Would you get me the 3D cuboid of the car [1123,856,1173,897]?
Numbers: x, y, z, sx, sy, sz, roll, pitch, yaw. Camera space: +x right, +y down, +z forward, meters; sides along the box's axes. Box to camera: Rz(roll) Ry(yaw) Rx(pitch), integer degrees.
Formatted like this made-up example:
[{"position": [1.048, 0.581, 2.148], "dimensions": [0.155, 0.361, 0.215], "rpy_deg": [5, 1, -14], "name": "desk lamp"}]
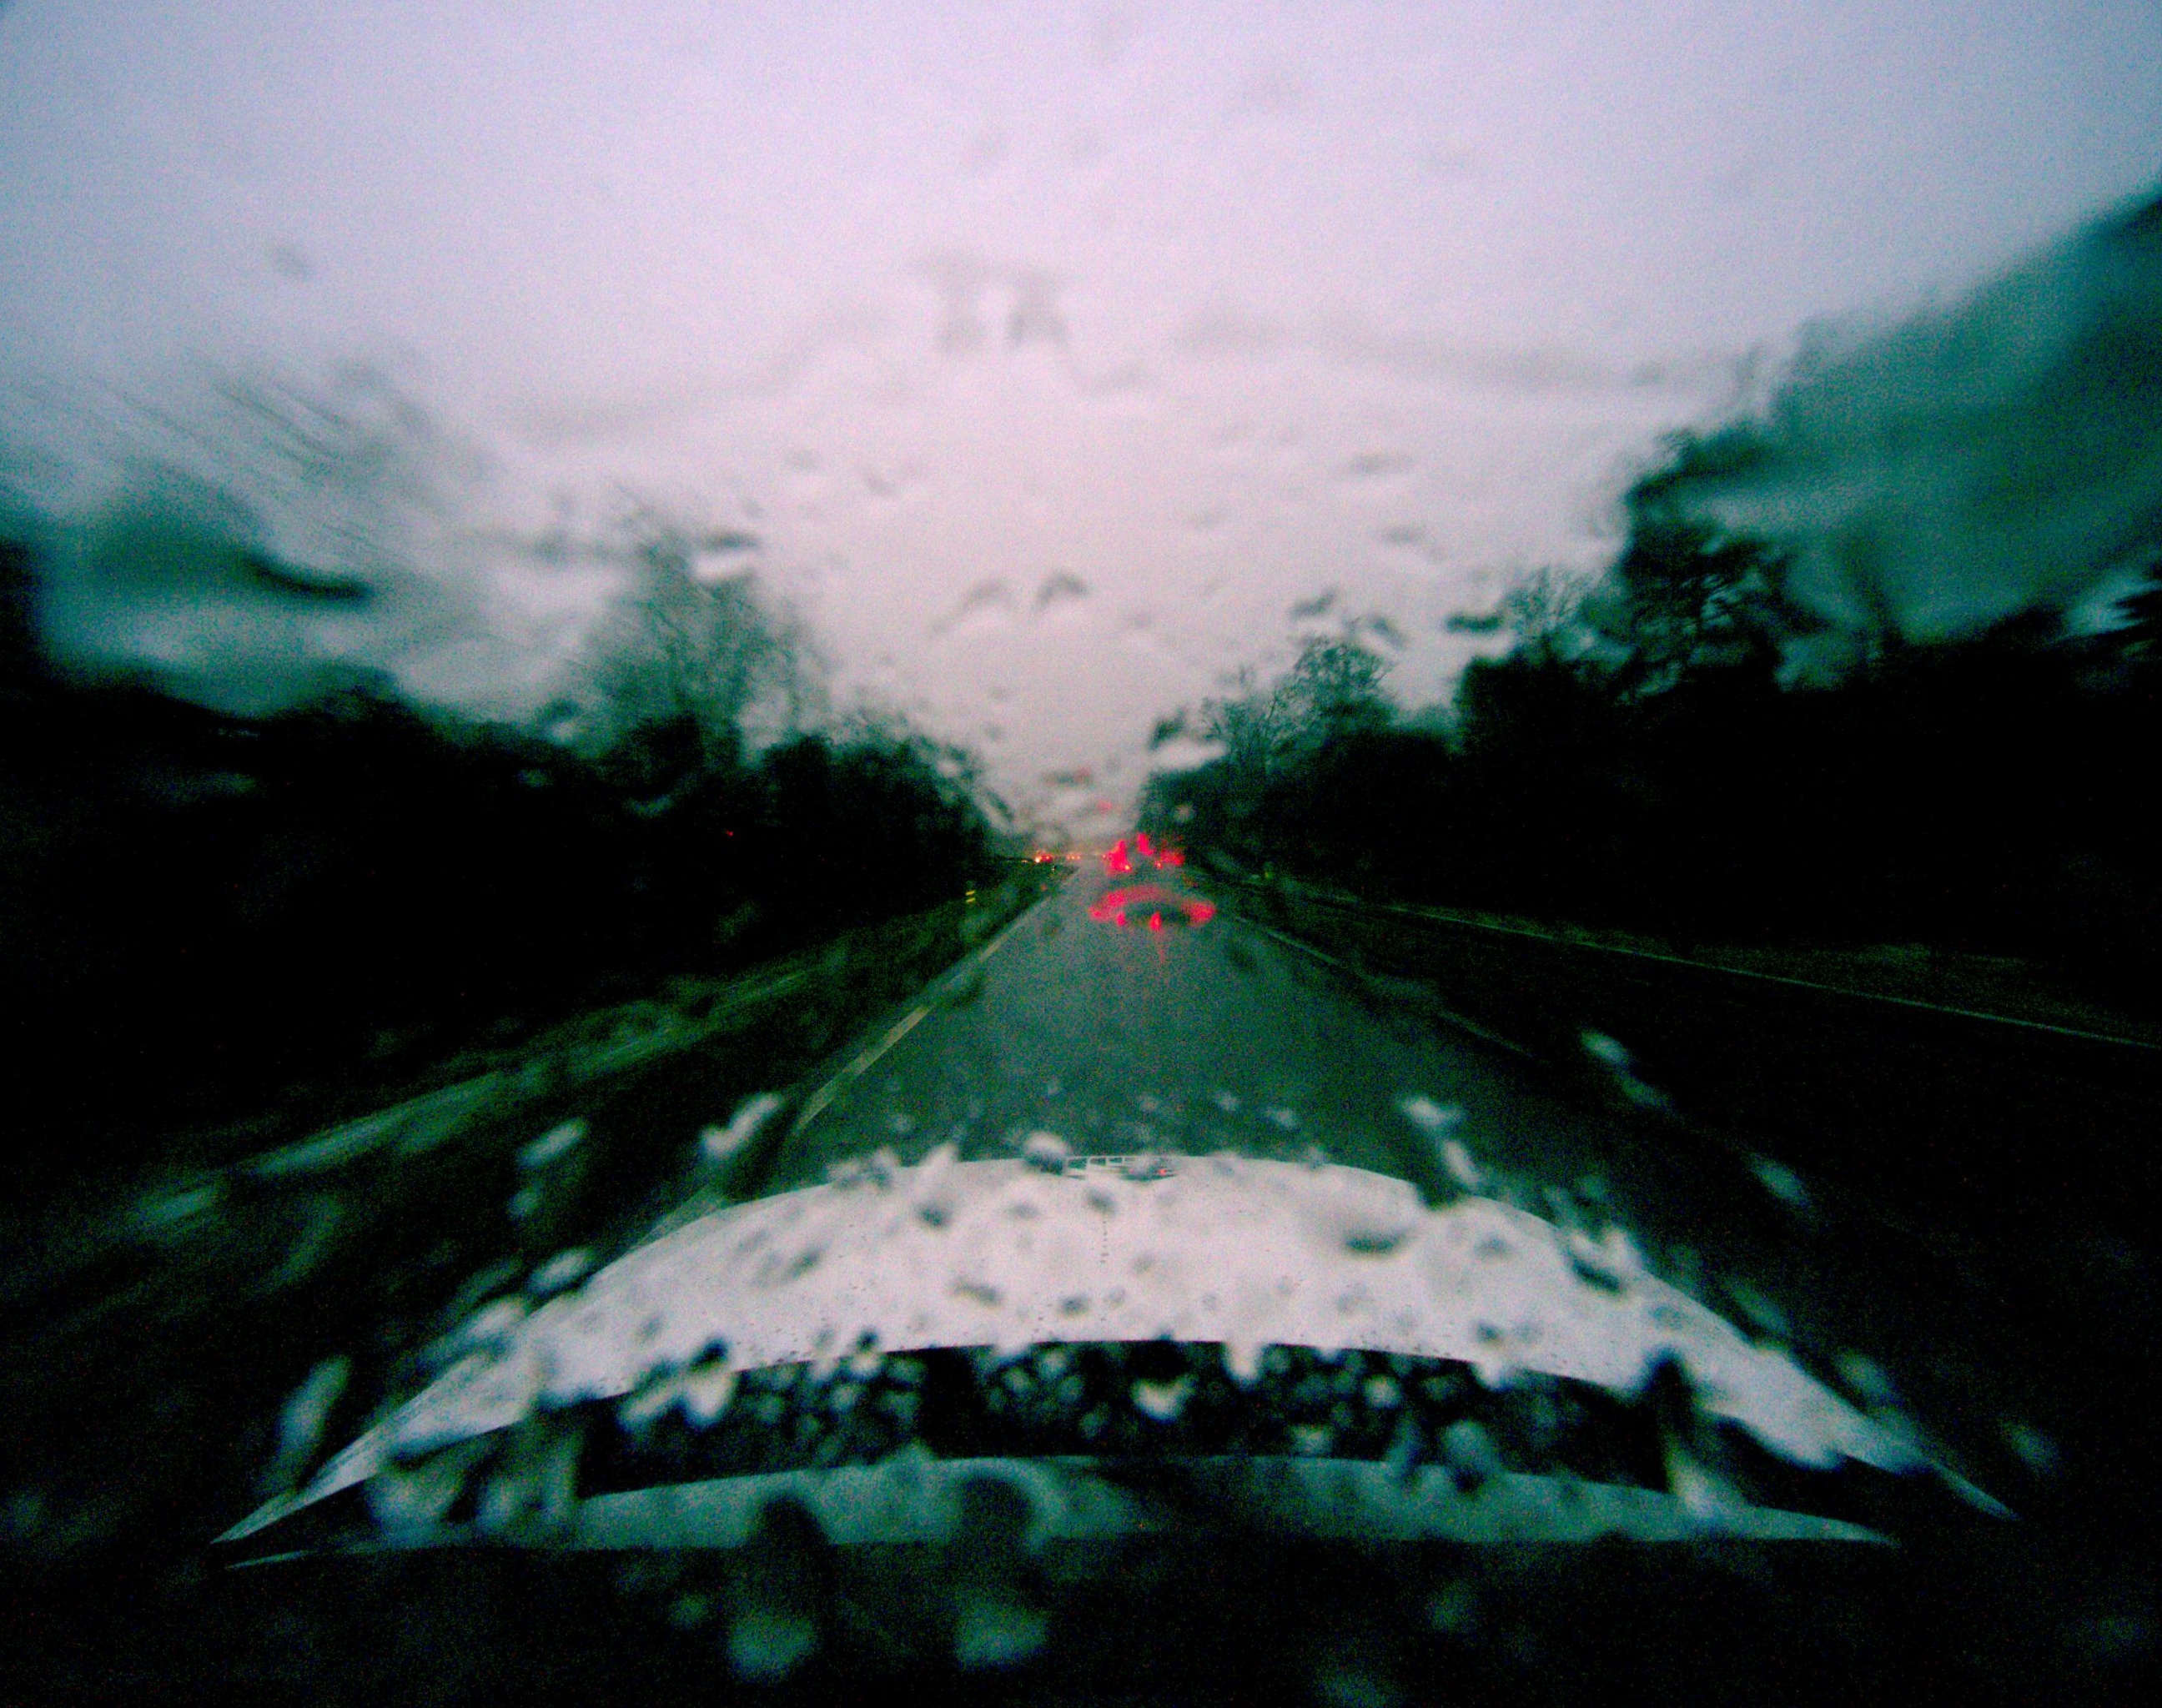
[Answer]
[{"position": [2.525, 0.830, 31.335], "dimensions": [1.725, 1.429, 3.767], "rpy_deg": [2, 0, 2], "name": "car"}]
